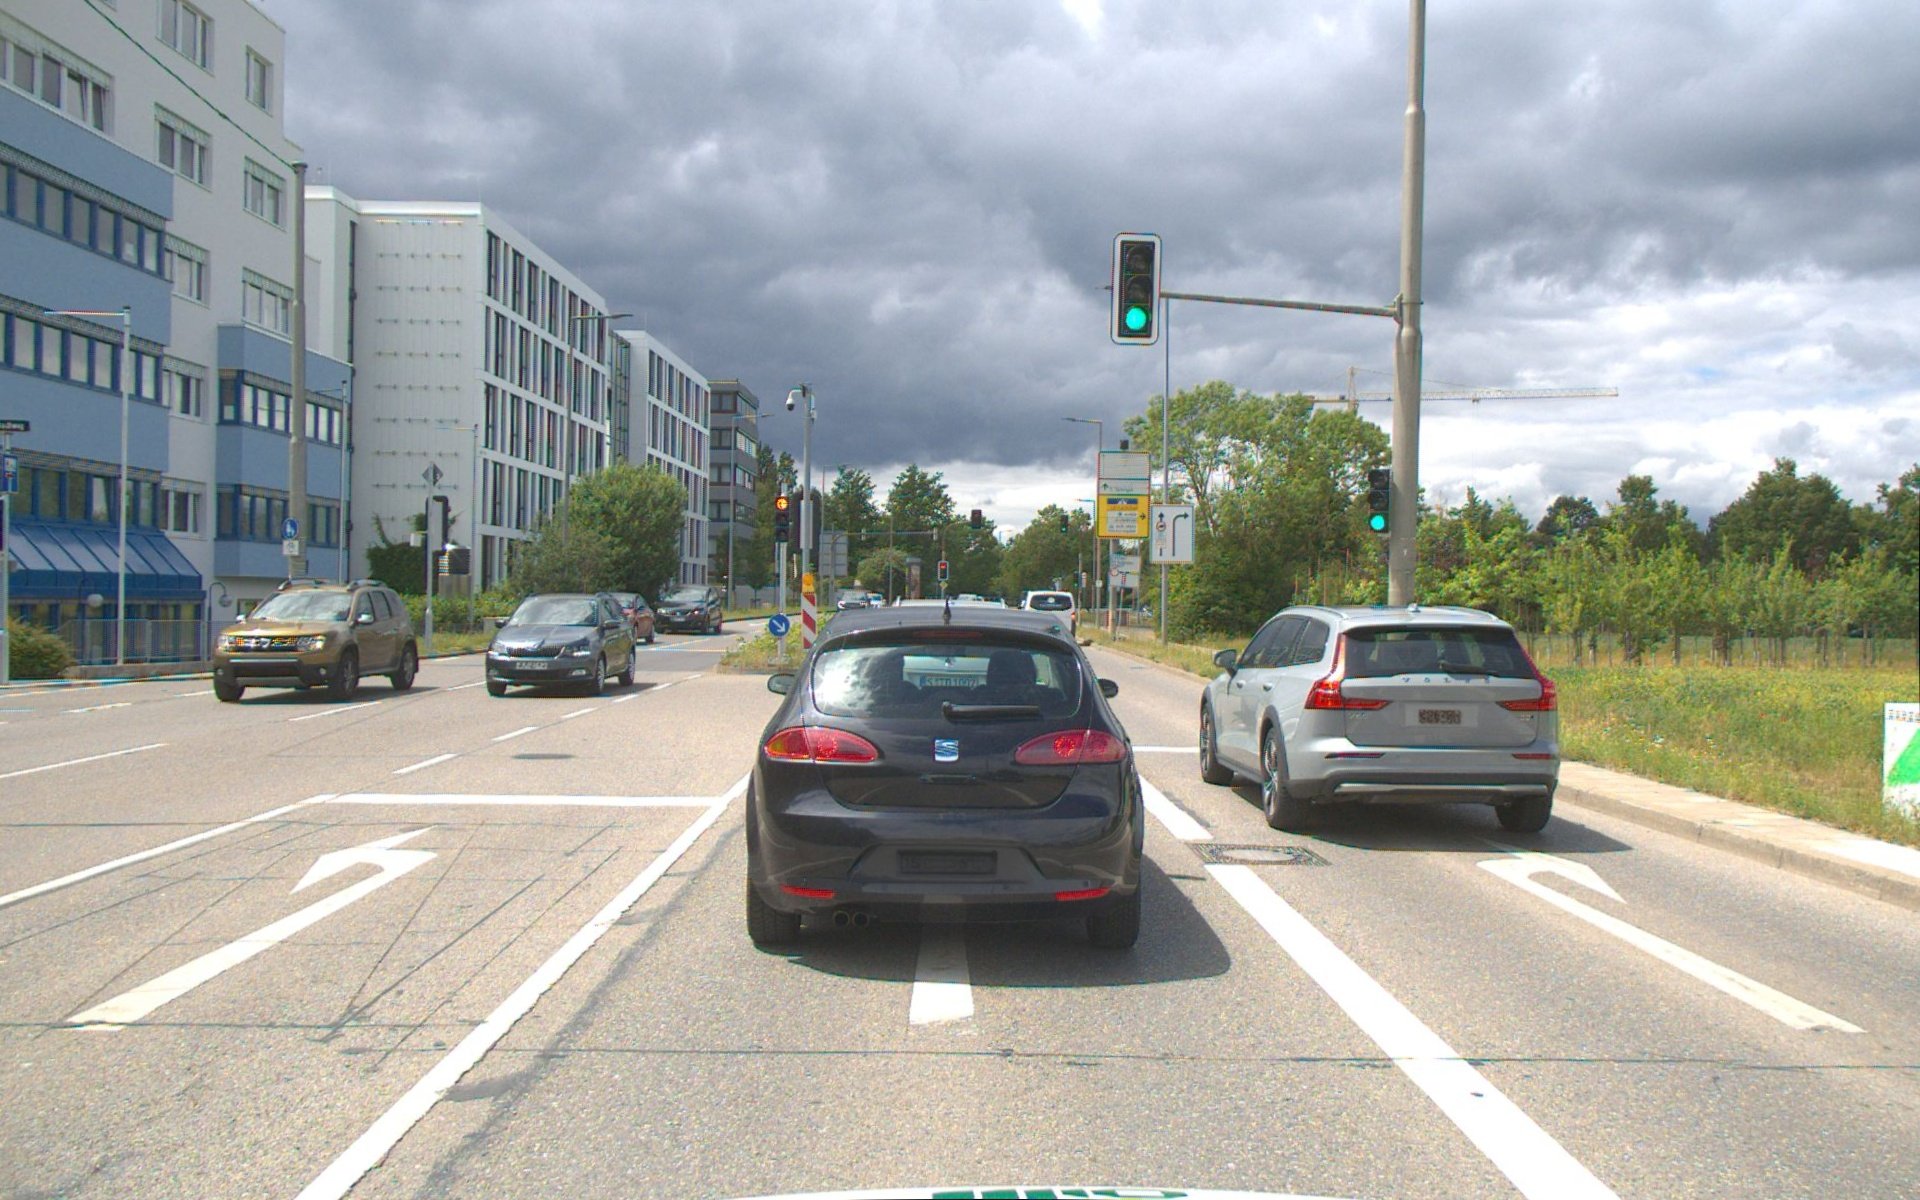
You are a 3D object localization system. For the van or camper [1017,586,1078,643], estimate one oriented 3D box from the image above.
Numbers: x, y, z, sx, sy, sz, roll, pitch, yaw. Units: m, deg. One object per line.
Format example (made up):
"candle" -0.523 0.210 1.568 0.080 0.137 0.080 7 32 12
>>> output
"van or camper" 3.088 0.520 59.126 1.861 1.959 3.998 0 -1 -2

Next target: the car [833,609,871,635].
"car" -6.226 1.269 95.658 1.953 1.434 3.999 0 -1 -1

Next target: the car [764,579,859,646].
"car" -3.453 0.264 39.133 1.807 1.487 4.056 0 0 1

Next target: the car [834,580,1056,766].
"car" -0.188 0.636 16.774 1.943 1.618 4.225 1 0 -2

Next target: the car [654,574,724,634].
"car" -9.524 0.151 58.503 1.954 2.049 4.478 0 -1 -3

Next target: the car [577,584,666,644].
"car" -9.651 0.394 47.456 1.739 1.640 3.999 0 -1 0

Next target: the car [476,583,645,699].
"car" -5.992 0.550 25.211 1.635 1.551 4.007 1 1 -1

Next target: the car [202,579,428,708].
"car" -9.194 0.578 23.933 1.715 1.659 3.999 -1 0 -1

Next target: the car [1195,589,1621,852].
"car" 3.020 0.747 12.173 1.918 1.552 4.339 -1 -1 0

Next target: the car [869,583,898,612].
"car" -5.508 -0.187 118.794 1.953 2.049 3.999 0 -1 -1

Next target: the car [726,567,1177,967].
"car" 0.052 0.665 8.378 1.711 1.510 4.001 -1 -1 2
